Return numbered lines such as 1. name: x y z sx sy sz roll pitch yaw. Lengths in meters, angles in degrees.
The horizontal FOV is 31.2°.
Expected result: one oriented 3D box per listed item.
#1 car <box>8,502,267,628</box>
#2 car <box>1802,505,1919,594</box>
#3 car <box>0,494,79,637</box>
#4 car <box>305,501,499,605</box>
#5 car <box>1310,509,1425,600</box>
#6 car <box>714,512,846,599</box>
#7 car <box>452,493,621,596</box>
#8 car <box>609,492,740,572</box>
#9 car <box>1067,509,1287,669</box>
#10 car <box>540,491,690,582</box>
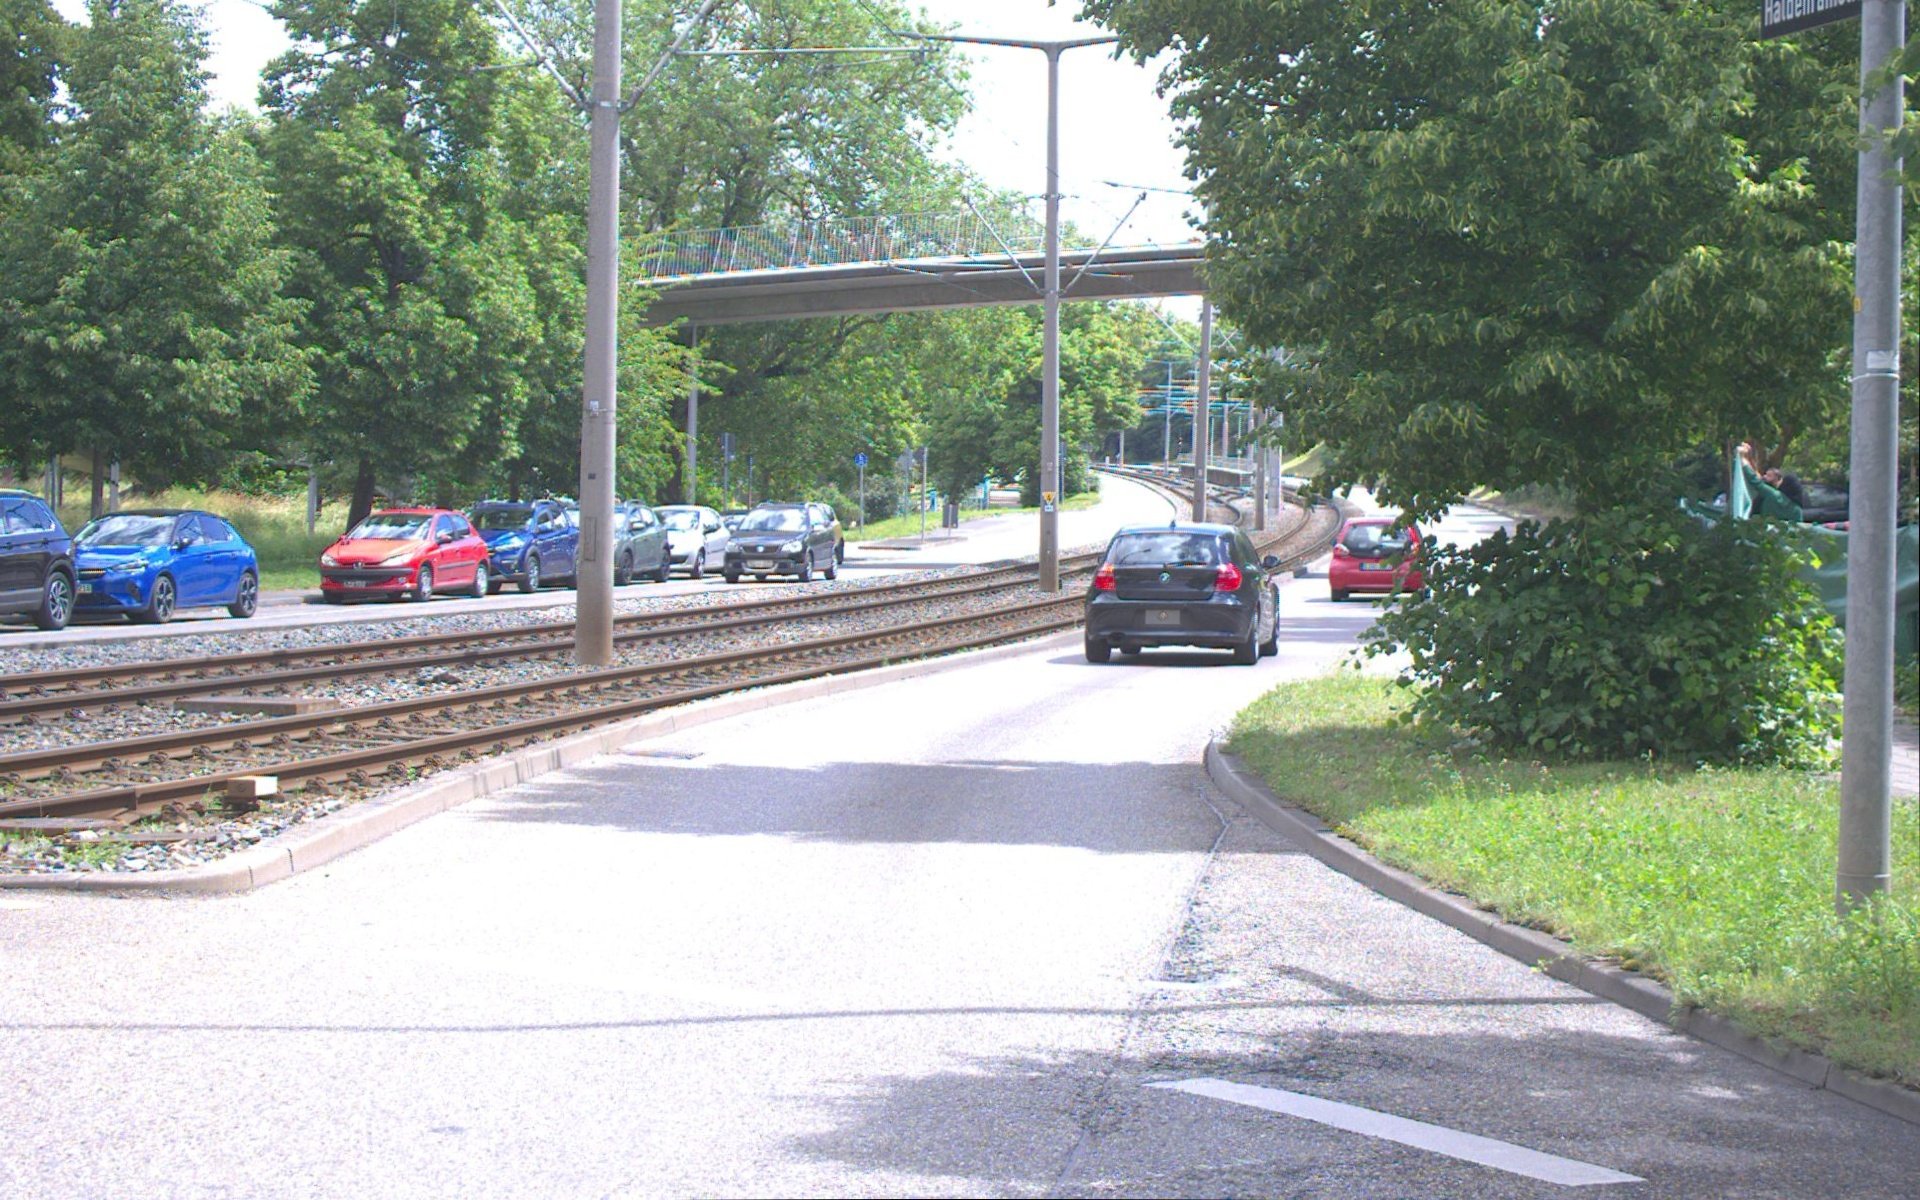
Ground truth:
1. car: -10.421 -0.424 43.835 1.614 1.456 4.005 3 0 11
2. car: 19.448 -1.065 69.680 4.527 1.666 1.999 -3 -1 13
3. car: -11.588 -0.426 38.393 1.581 1.600 4.372 3 0 11
4. car: -8.676 -0.707 53.776 1.614 1.488 4.045 3 0 11
5. car: 7.076 -0.765 59.479 1.625 1.438 3.419 3 1 12
6. car: -3.466 -0.843 66.942 1.614 1.568 3.998 3 1 10
7. car: -7.198 -0.923 58.789 1.558 1.590 4.158 3 0 11
8. car: -5.742 -1.355 69.614 1.594 1.488 4.190 3 1 9
9. car: 2.287 -0.155 35.342 1.709 1.455 3.958 3 2 11
10. car: -6.414 -1.178 64.328 1.643 1.617 4.123 1 1 11
